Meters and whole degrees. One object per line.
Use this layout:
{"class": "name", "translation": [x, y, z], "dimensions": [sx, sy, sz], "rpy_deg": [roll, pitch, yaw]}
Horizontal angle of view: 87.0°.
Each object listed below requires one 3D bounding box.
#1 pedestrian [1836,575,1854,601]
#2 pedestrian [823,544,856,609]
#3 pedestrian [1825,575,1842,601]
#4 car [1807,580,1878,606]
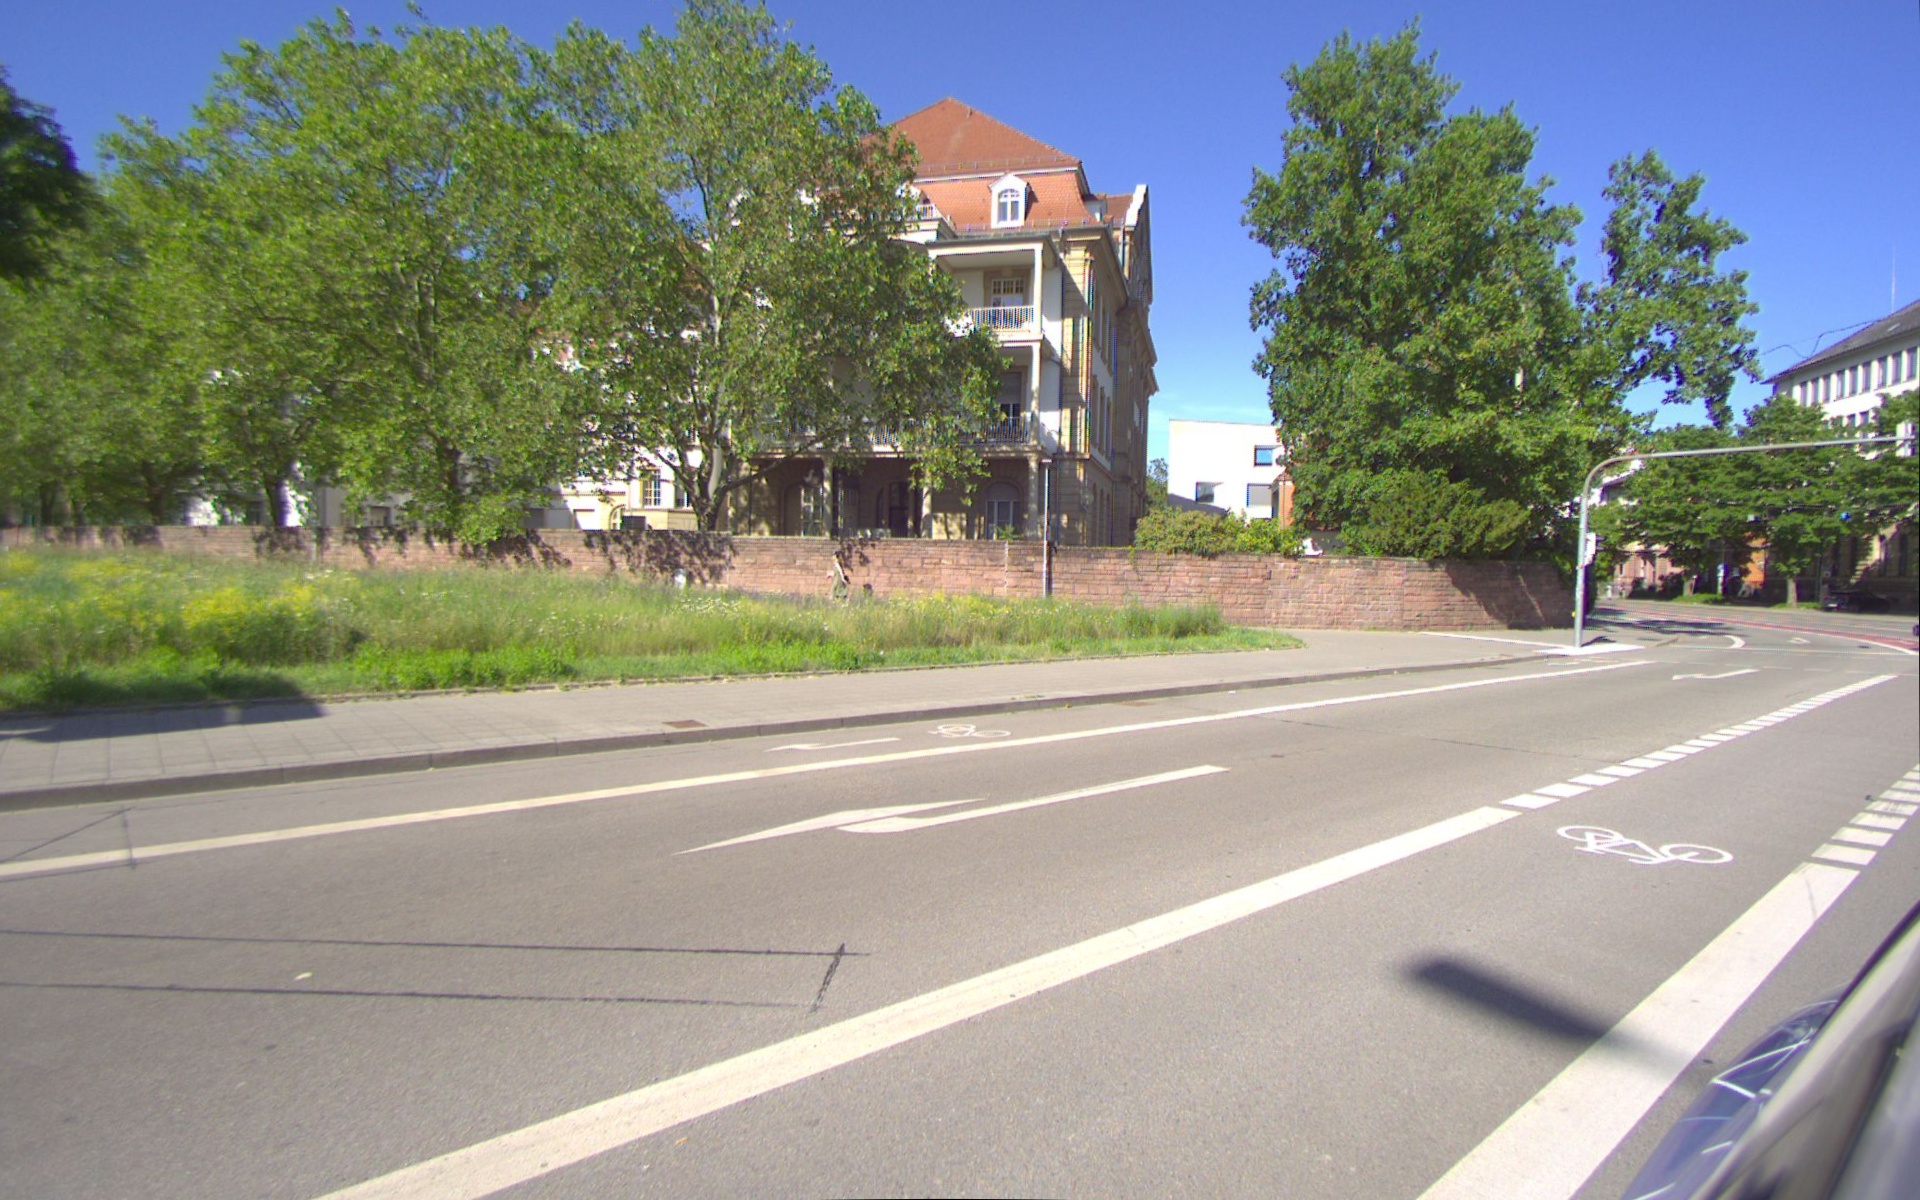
{"class": "pedestrian", "translation": [65.251, -0.880, 74.637], "dimensions": [0.568, 1.927, 0.849], "rpy_deg": [1, 1, 12]}
{"class": "pedestrian", "translation": [-3.551, -0.699, 29.895], "dimensions": [0.775, 1.881, 0.628], "rpy_deg": [1, 1, 11]}
{"class": "pedestrian", "translation": [64.636, -0.900, 74.869], "dimensions": [0.568, 1.927, 0.781], "rpy_deg": [1, 1, 12]}
{"class": "car", "translation": [60.050, -0.510, 68.941], "dimensions": [1.806, 1.615, 3.988], "rpy_deg": [2, 2, 11]}
